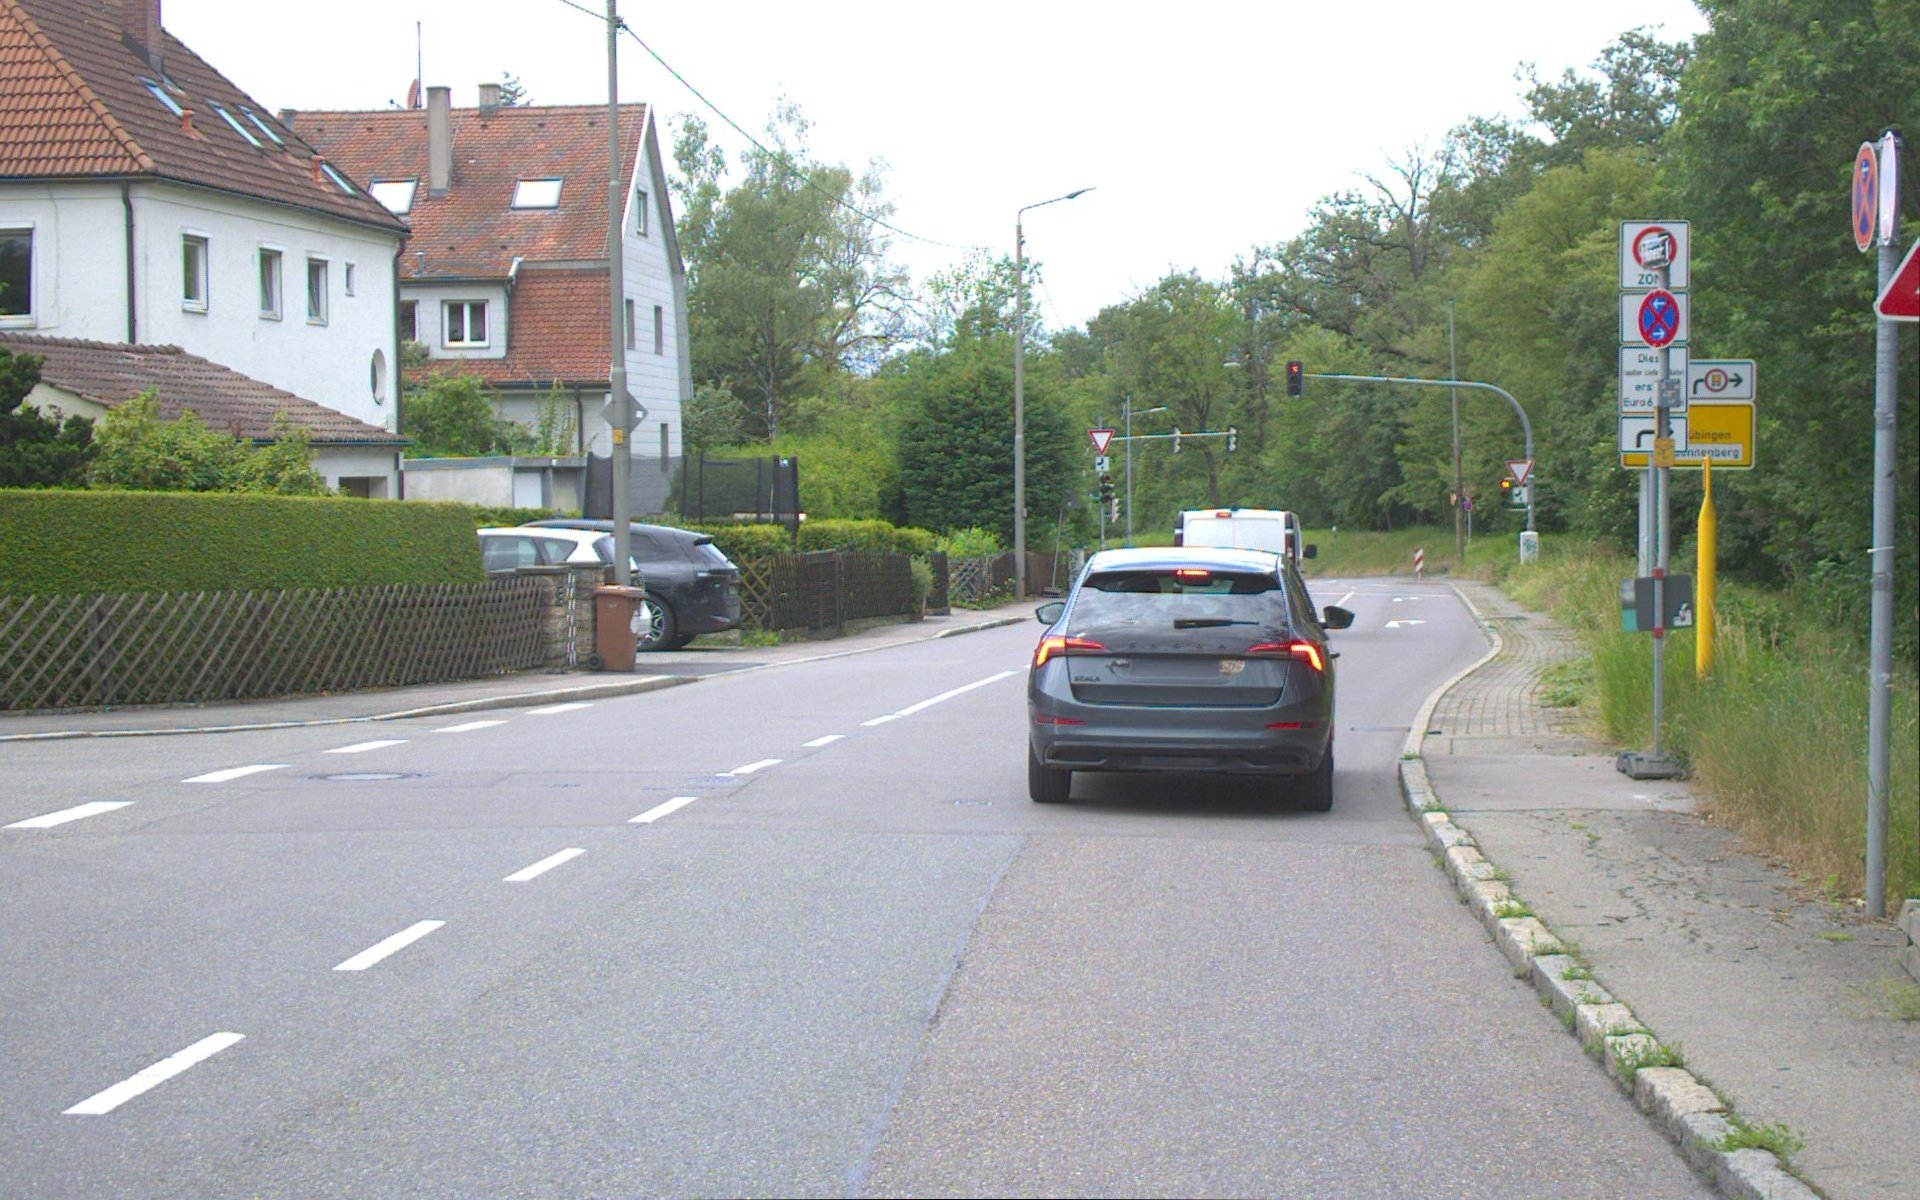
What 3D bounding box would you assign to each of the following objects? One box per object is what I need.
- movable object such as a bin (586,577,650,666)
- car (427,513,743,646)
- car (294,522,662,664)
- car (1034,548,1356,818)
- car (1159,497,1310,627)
[{"bbox_3d":[-3.688,0.232,37.126,0.599,0.947,0.579,0,1,4],"label":"movable object such as a bin"},{"bbox_3d":[-4.933,-0.283,45.625,3.987,1.700,1.917,0,1,0],"label":"car"},{"bbox_3d":[-5.655,-0.101,40.664,3.987,1.612,2.000,0,1,3],"label":"car"},{"bbox_3d":[1.413,0.414,20.725,1.728,1.434,4.323,0,1,4],"label":"car"},{"bbox_3d":[4.205,-0.598,53.342,2.071,1.915,4.922,0,1,2],"label":"car"}]
